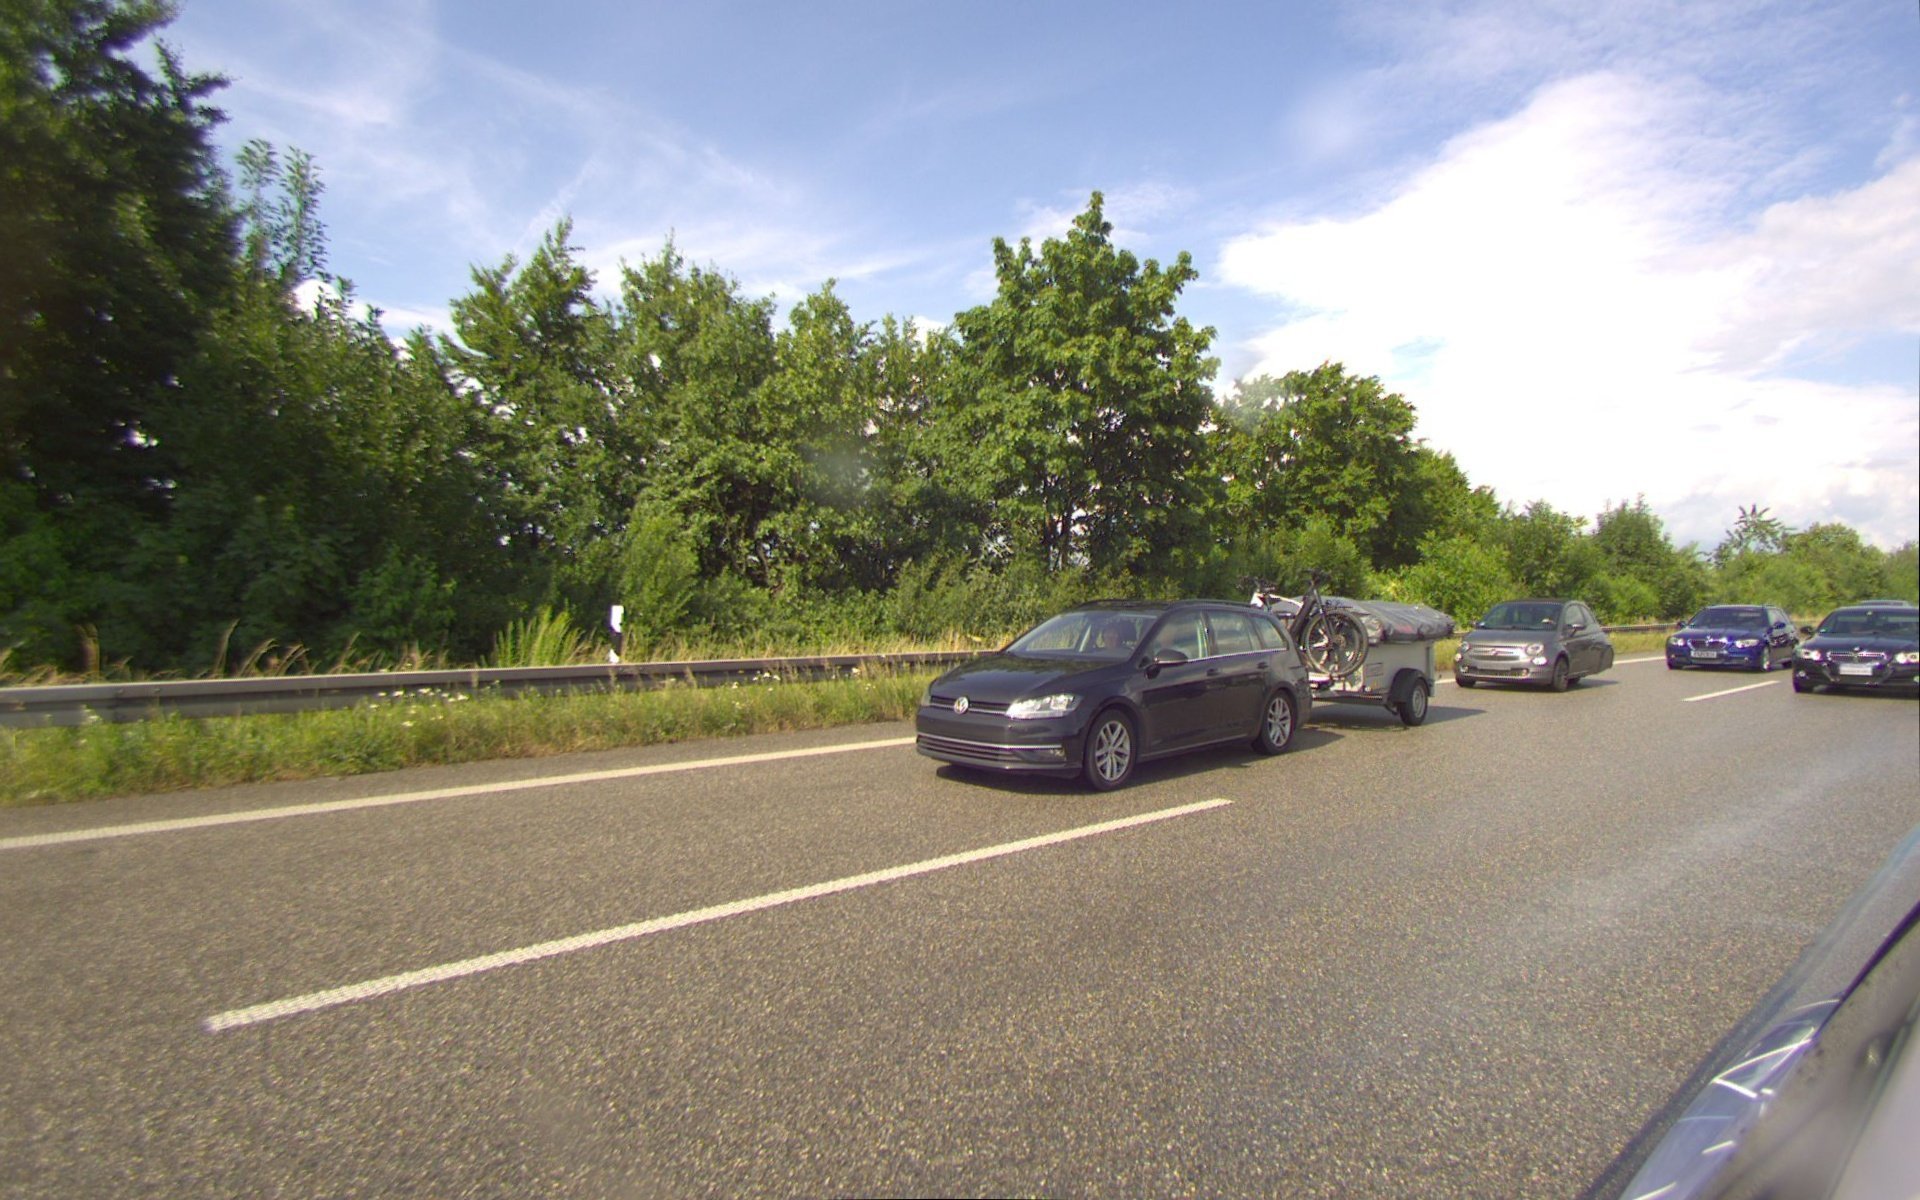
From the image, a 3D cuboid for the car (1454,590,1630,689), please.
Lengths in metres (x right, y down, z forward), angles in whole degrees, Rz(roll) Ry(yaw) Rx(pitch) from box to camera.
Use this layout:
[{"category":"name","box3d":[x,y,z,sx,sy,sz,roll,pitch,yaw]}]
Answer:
[{"category":"car","box3d":[9.980,0.599,17.277,3.421,1.507,1.614,0,0,-42]}]

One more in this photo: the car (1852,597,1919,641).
[{"category":"car","box3d":[35.048,0.669,37.892,4.176,1.509,1.997,0,1,-42]}]

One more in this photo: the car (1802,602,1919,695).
[{"category":"car","box3d":[15.413,0.729,16.681,3.815,1.371,1.721,0,0,-40]}]

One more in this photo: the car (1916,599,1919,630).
[{"category":"car","box3d":[51.744,0.749,53.164,3.931,1.594,1.866,0,1,-42]}]

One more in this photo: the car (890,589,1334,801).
[{"category":"car","box3d":[1.571,0.636,9.084,1.744,1.449,4.334,1,1,45]}]

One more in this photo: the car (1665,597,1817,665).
[{"category":"car","box3d":[17.432,0.617,22.501,4.499,1.368,1.770,0,1,-40]}]

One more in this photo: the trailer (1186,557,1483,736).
[{"category":"trailer","box3d":[4.540,0.458,11.985,3.902,1.768,1.807,0,-1,-44]}]
